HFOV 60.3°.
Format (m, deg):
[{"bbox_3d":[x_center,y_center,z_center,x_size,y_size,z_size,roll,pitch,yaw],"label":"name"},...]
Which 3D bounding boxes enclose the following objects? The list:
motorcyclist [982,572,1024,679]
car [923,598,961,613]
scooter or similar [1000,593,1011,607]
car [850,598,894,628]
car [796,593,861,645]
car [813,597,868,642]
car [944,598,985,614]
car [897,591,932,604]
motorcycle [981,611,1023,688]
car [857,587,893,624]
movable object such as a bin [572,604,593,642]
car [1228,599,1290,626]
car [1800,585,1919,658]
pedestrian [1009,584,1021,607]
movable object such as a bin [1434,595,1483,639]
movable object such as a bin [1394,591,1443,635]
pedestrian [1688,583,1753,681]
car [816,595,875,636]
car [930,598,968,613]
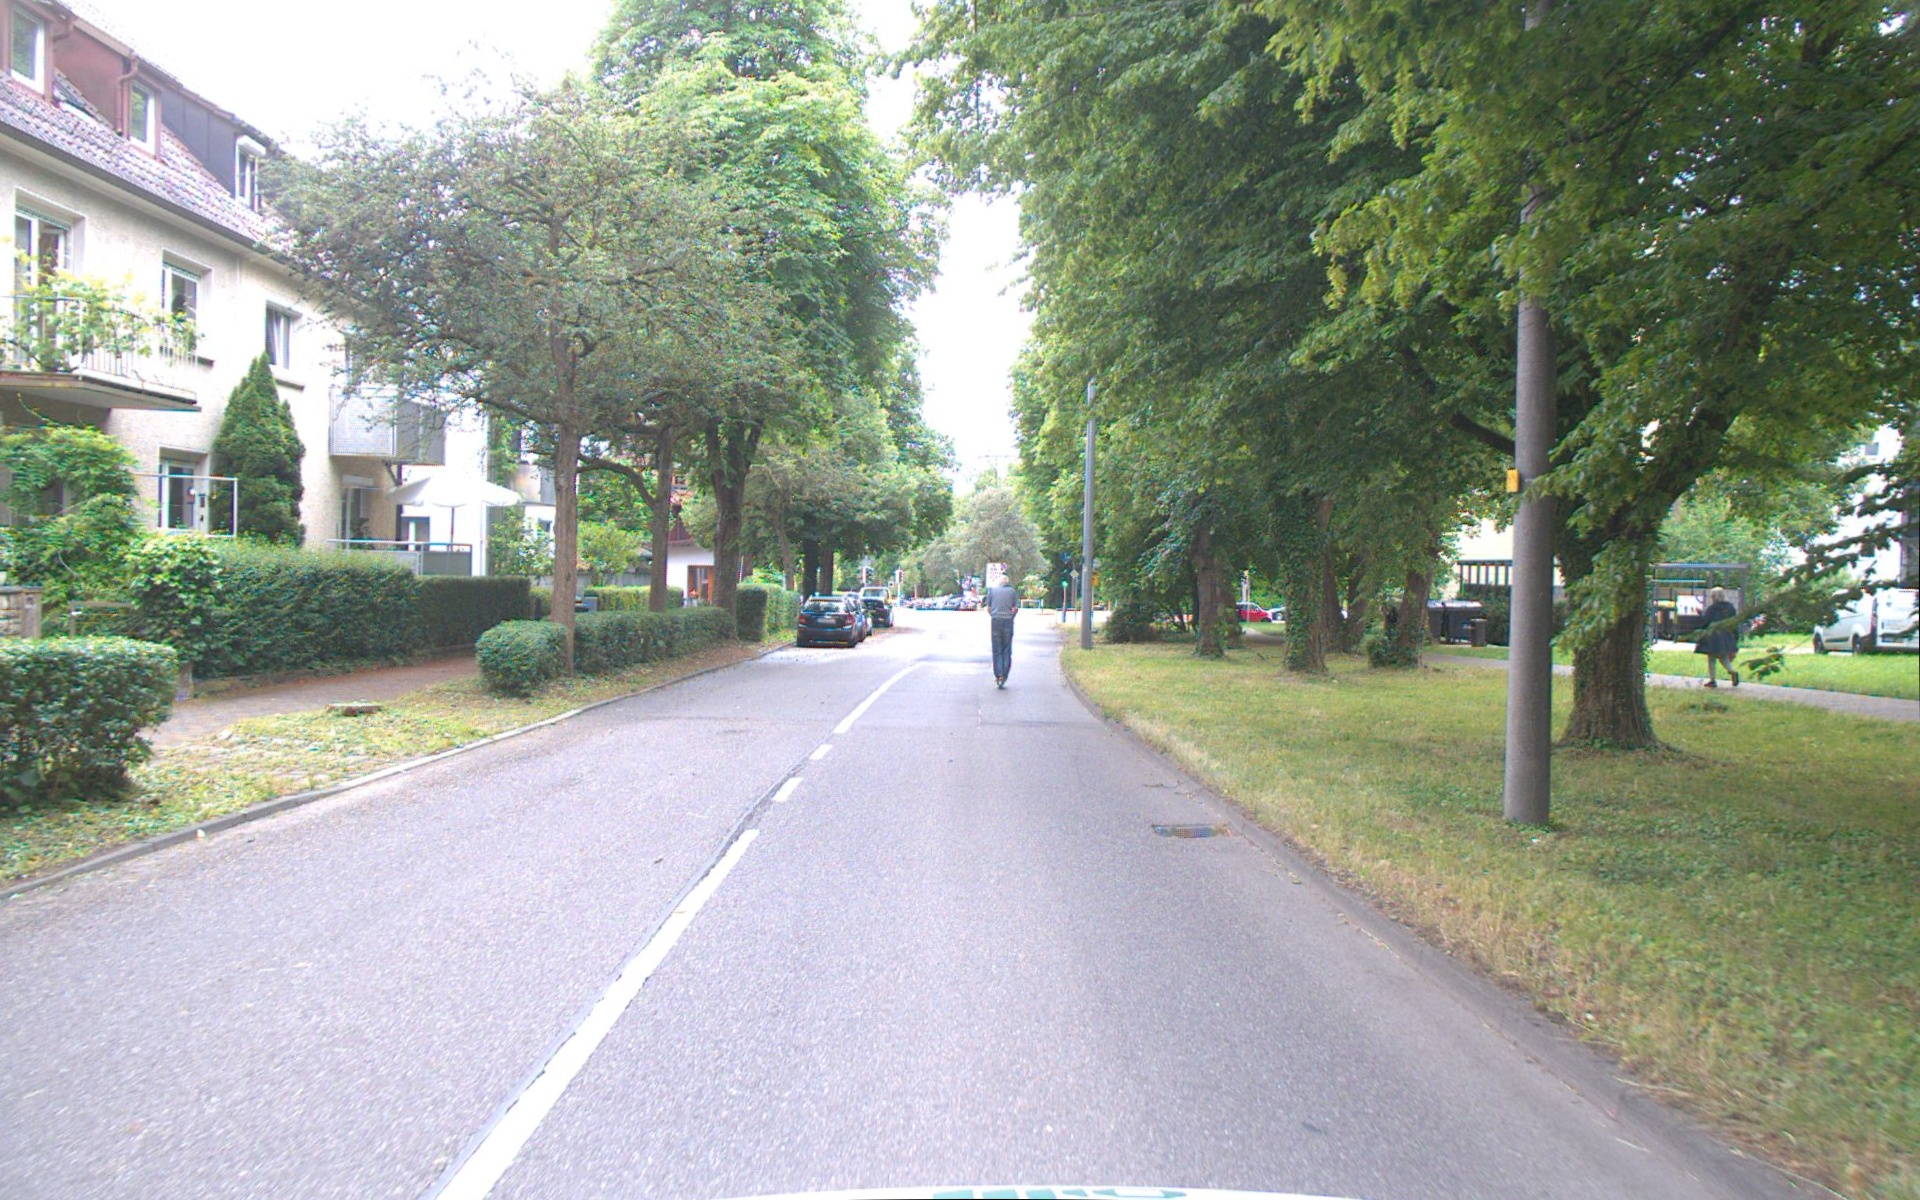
[{"bbox_3d":[0.733,0.429,28.240,0.659,1.792,0.639,2,0,1],"label":"motorcyclist"},{"bbox_3d":[-1.906,0.542,174.087,3.907,1.537,1.799,0,0,-3],"label":"car"},{"bbox_3d":[3.554,0.000,128.886,0.695,1.067,0.787,0,0,19],"label":"scooter or similar"},{"bbox_3d":[-4.239,0.618,80.454,1.853,1.435,4.554,0,0,1],"label":"car"},{"bbox_3d":[-3.887,0.535,49.400,1.758,1.498,4.416,0,0,-2],"label":"car"},{"bbox_3d":[-3.892,0.610,54.302,1.631,1.416,3.705,0,0,-2],"label":"car"},{"bbox_3d":[0.401,0.597,161.478,3.907,1.537,1.799,0,0,-3],"label":"car"},{"bbox_3d":[-5.207,-0.267,188.726,3.907,1.537,1.799,0,0,-3],"label":"car"},{"bbox_3d":[0.715,0.832,28.109,0.659,1.239,1.274,2,0,1],"label":"motorcycle"},{"bbox_3d":[-4.702,0.331,91.349,1.821,1.998,4.499,0,0,-5],"label":"car"},{"bbox_3d":[-9.263,0.568,40.616,0.447,0.931,0.508,0,0,-6],"label":"movable object such as a bin"},{"bbox_3d":[19.898,0.821,109.982,3.902,1.584,1.802,2,3,13],"label":"car"},{"bbox_3d":[25.642,0.542,46.629,2.041,1.875,4.972,0,1,8],"label":"car"},{"bbox_3d":[4.265,-0.365,128.678,0.717,1.792,0.662,0,-1,19],"label":"pedestrian"},{"bbox_3d":[17.512,0.594,58.093,1.300,1.527,1.314,0,0,-3],"label":"movable object such as a bin"},{"bbox_3d":[16.098,0.459,58.078,1.300,1.527,1.314,0,0,-3],"label":"movable object such as a bin"},{"bbox_3d":[13.451,0.555,29.266,0.752,1.716,0.814,0,0,-1],"label":"pedestrian"},{"bbox_3d":[-4.114,0.538,60.117,1.757,1.435,4.645,0,0,1],"label":"car"},{"bbox_3d":[-1.186,0.570,172.192,3.907,1.537,1.799,0,0,-3],"label":"car"}]
